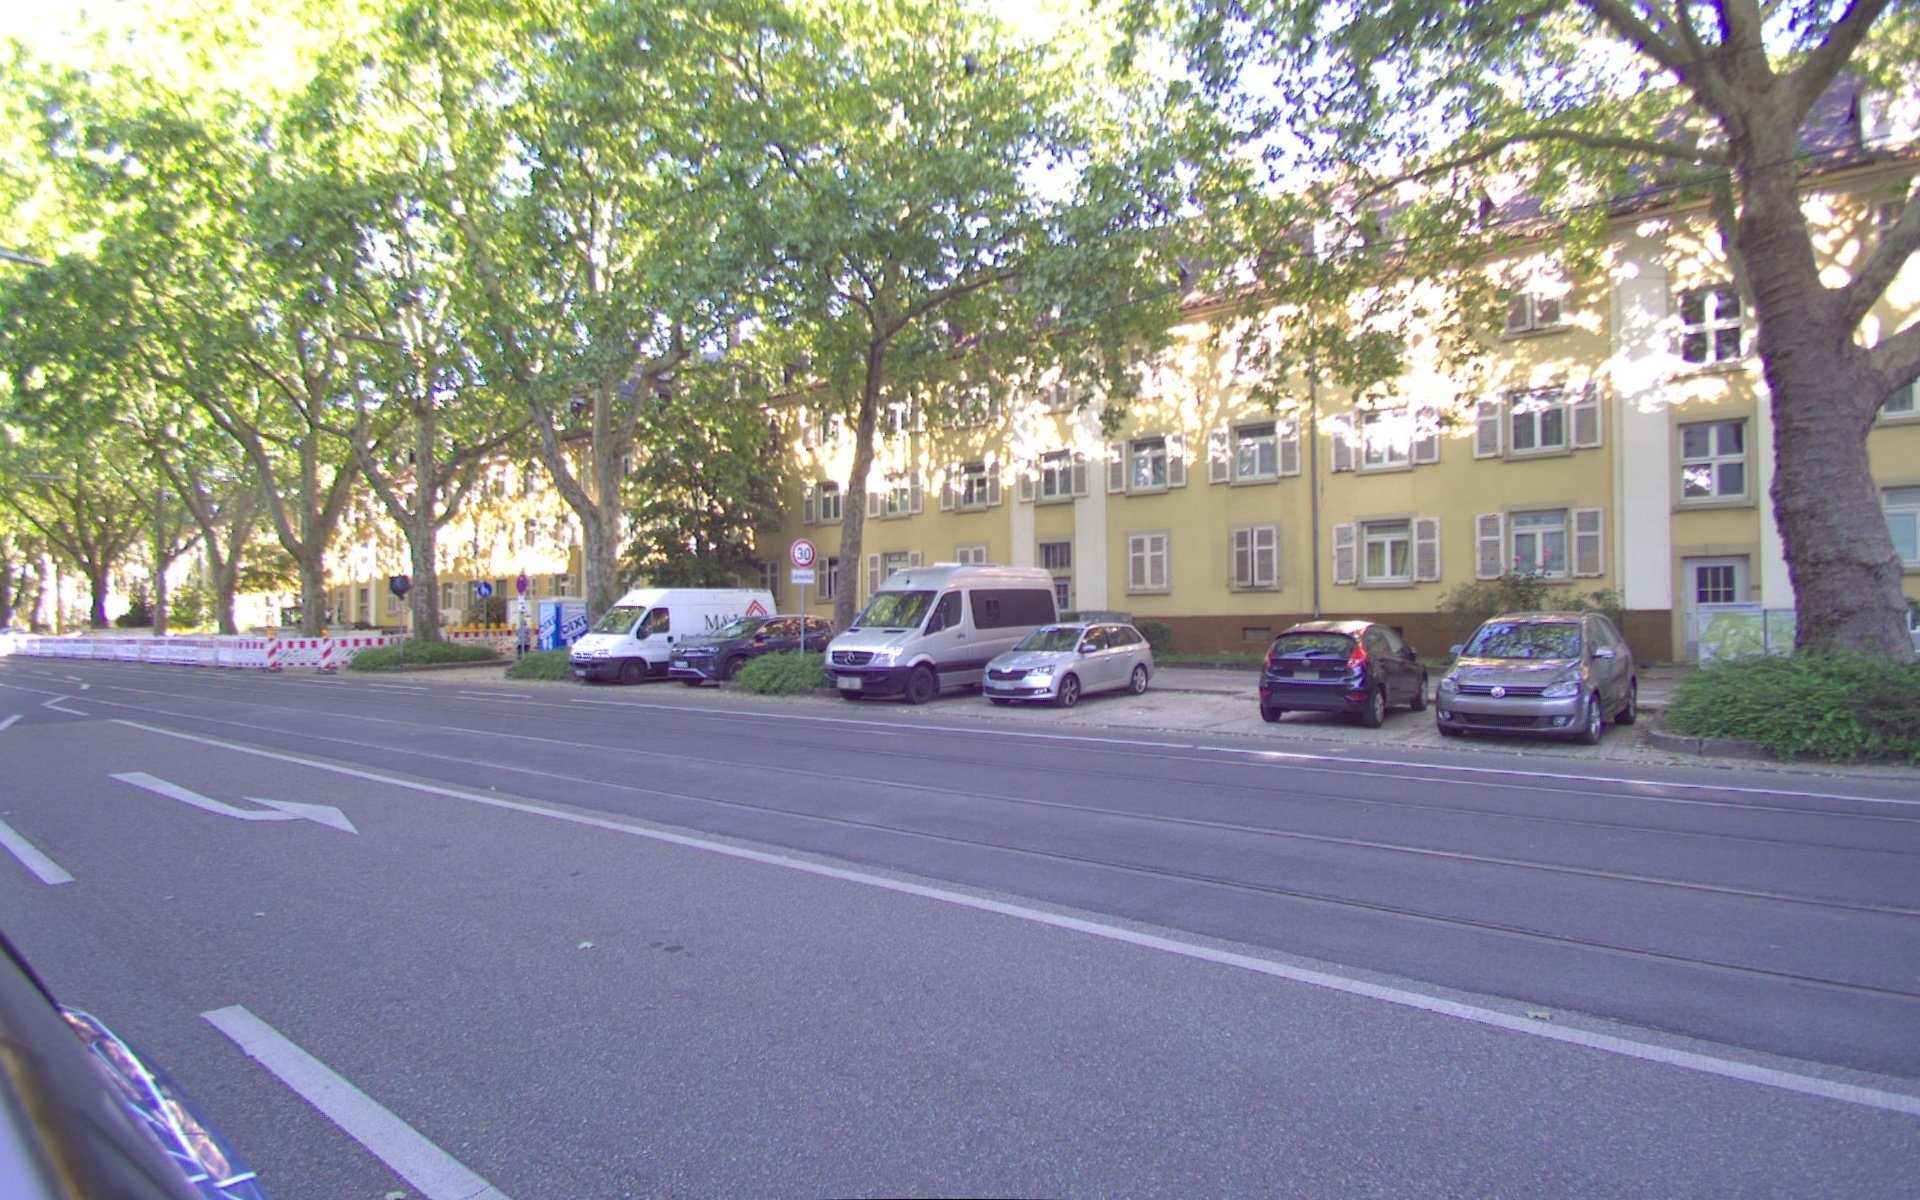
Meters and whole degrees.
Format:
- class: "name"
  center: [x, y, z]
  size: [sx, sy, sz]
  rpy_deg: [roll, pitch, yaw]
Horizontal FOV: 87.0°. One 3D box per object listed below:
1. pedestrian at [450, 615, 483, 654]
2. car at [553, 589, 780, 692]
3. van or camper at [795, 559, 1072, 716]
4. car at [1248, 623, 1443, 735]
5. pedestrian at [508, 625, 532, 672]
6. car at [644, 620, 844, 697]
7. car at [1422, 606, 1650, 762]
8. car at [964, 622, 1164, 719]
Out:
- class: "pedestrian"
  center: [-25.599, 1.786, 52.499]
  size: [1.233, 2.029, 1.085]
  rpy_deg: [-2, -2, 36]
- class: "car"
  center: [-7.440, 1.016, 26.279]
  size: [2.023, 2.394, 5.543]
  rpy_deg: [-2, -2, 38]
- class: "van or camper"
  center: [-0.312, 0.668, 20.484]
  size: [2.227, 2.697, 6.052]
  rpy_deg: [-2, -1, 38]
- class: "car"
  center: [5.910, 1.093, 15.320]
  size: [1.740, 1.440, 3.528]
  rpy_deg: [-2, -1, 39]
- class: "pedestrian"
  center: [-15.029, 1.642, 34.586]
  size: [0.587, 1.585, 0.719]
  rpy_deg: [0, -2, -11]
- class: "car"
  center: [-5.086, 1.338, 24.360]
  size: [1.967, 1.643, 4.520]
  rpy_deg: [-2, -2, 38]
- class: "car"
  center: [7.741, 0.968, 13.407]
  size: [1.814, 1.617, 4.145]
  rpy_deg: [-2, 0, 41]
- class: "car"
  center: [2.041, 1.210, 18.898]
  size: [1.729, 1.481, 4.102]
  rpy_deg: [0, 0, 40]
